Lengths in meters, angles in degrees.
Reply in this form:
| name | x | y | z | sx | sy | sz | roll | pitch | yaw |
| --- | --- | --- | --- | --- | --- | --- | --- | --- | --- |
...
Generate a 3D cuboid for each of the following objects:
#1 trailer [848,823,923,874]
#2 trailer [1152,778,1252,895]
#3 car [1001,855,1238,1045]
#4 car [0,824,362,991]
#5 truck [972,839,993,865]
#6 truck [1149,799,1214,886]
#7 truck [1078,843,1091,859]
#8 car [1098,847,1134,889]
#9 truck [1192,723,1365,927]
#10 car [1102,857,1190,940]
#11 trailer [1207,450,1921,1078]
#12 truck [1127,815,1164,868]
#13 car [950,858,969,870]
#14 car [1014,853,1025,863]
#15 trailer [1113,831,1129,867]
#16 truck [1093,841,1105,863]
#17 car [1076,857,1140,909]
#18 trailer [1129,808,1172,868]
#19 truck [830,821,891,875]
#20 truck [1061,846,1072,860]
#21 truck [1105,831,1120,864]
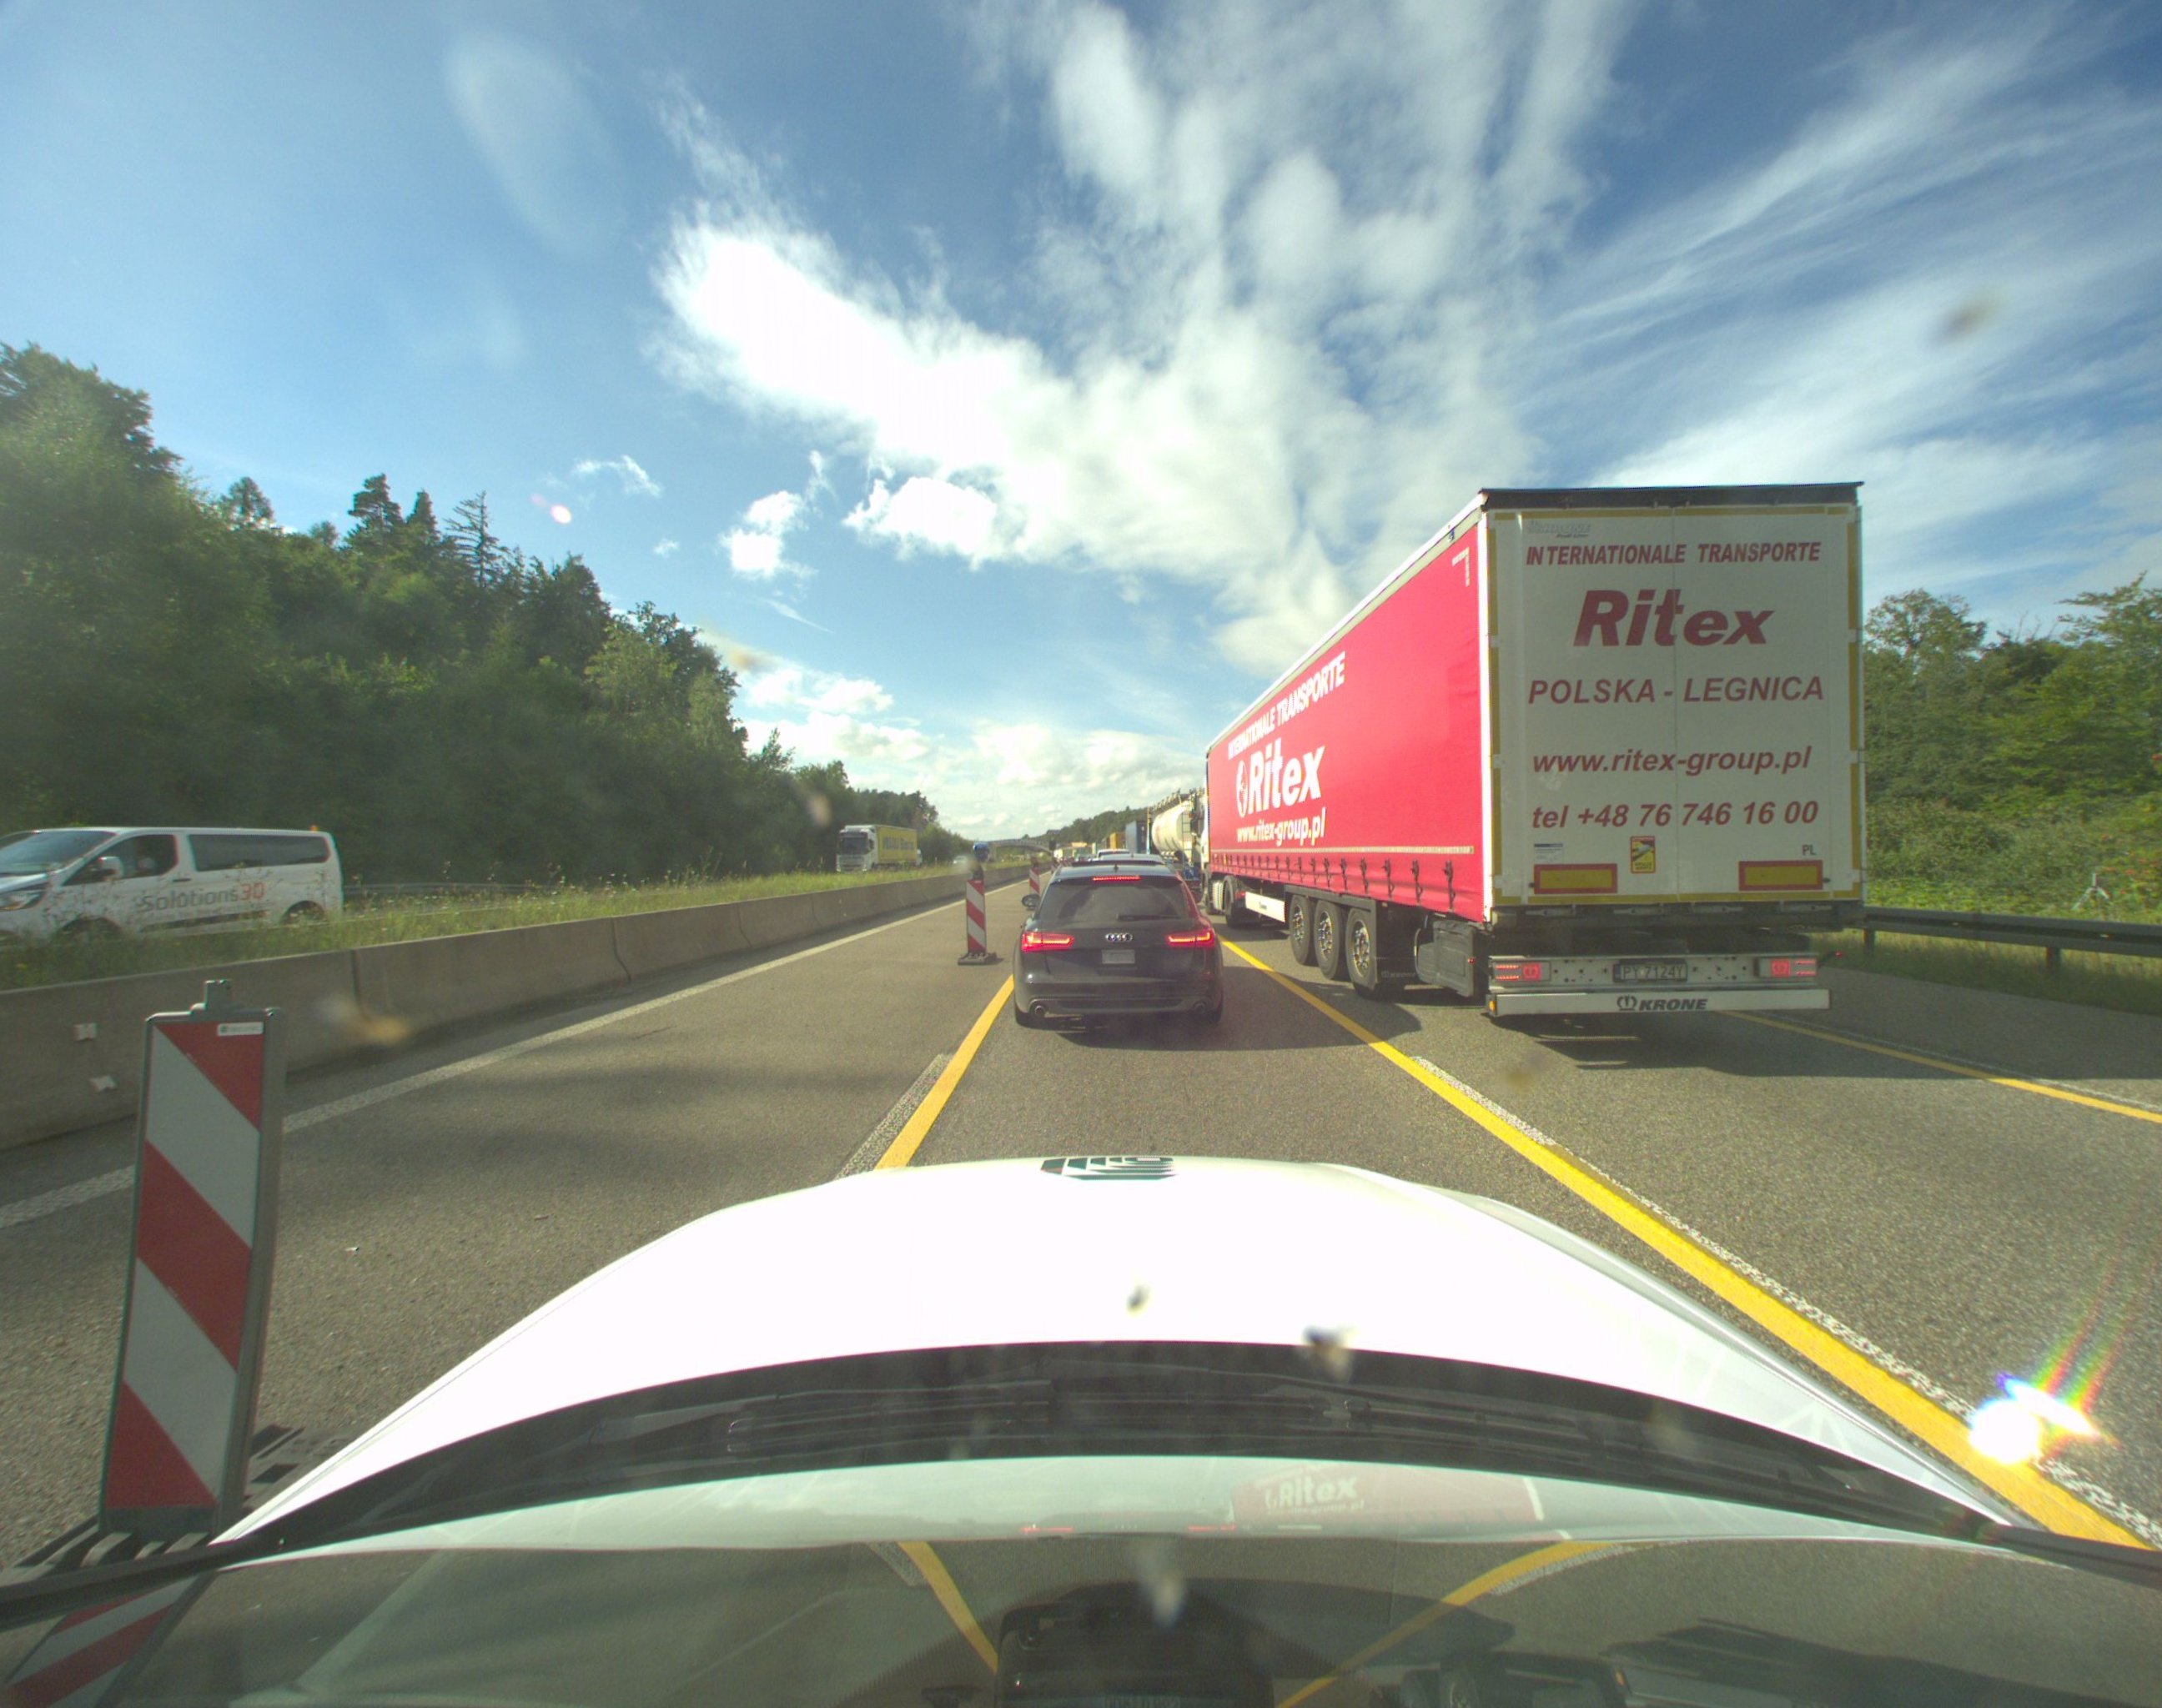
| name | x | y | z | sx | sy | sz | roll | pitch | yaw |
| --- | --- | --- | --- | --- | --- | --- | --- | --- | --- |
| trailer | -16.517 | -0.369 | 70.206 | 2.817 | 3.922 | 13.943 | 0 | -1 | 1 |
| trailer | 4.636 | -0.557 | 33.771 | 2.634 | 3.943 | 12.602 | 0 | 0 | 2 |
| car | 0.363 | 0.758 | 8.403 | 1.842 | 1.463 | 4.002 | -1 | 0 | 2 |
| car | -13.943 | 0.669 | 12.236 | 1.987 | 2.014 | 4.830 | 0 | -1 | 0 |
| truck | -16.576 | -0.326 | 137.615 | 2.628 | 4.189 | 5.469 | -1 | 0 | 2 |
| truck | 4.834 | -0.519 | 40.184 | 2.649 | 3.972 | 5.780 | 0 | -1 | 2 |
| truck | 0.894 | -0.847 | 221.529 | 3.293 | 4.175 | 9.700 | -1 | 0 | 0 |
| car | 1.607 | 0.617 | 37.538 | 1.575 | 1.837 | 3.113 | 0 | -1 | 2 |
| truck | 4.247 | -0.570 | 18.761 | 2.658 | 3.959 | 5.711 | -1 | 0 | 1 |
| car | 1.186 | 0.790 | 15.879 | 1.518 | 1.439 | 3.286 | 0 | -1 | 2 |
| trailer | 4.104 | -0.571 | 11.883 | 2.690 | 3.969 | 13.420 | -1 | 0 | 1 |
| truck | 5.576 | -0.999 | 71.402 | 2.795 | 4.370 | 7.794 | 0 | -1 | 2 |
| car | -16.596 | 1.321 | 111.513 | 1.780 | 1.560 | 4.001 | 0 | -1 | 2 |
| car | -12.272 | 0.727 | 162.721 | 1.987 | 1.948 | 3.999 | 0 | -1 | 0 |
| trailer | 4.475 | -0.493 | 92.485 | 1.611 | 3.918 | 6.490 | 0 | -1 | 1 |
| truck | 3.516 | -0.295 | 158.599 | 2.130 | 4.257 | 7.073 | 0 | -1 | 1 |
| car | 0.788 | 0.816 | 24.148 | 1.745 | 1.397 | 3.609 | 0 | -1 | 2 |
| trailer | 5.349 | -1.116 | 64.516 | 2.795 | 4.413 | 10.436 | 0 | -1 | 2 |
| truck | -16.705 | -0.408 | 62.070 | 2.816 | 3.909 | 5.951 | 0 | -1 | 2 |
| truck | -4.473 | -0.291 | 254.642 | 3.295 | 4.175 | 9.696 | -1 | 0 | -1 |
| truck | 4.771 | -0.909 | 125.785 | 1.987 | 4.914 | 9.562 | -1 | 0 | 0 |
